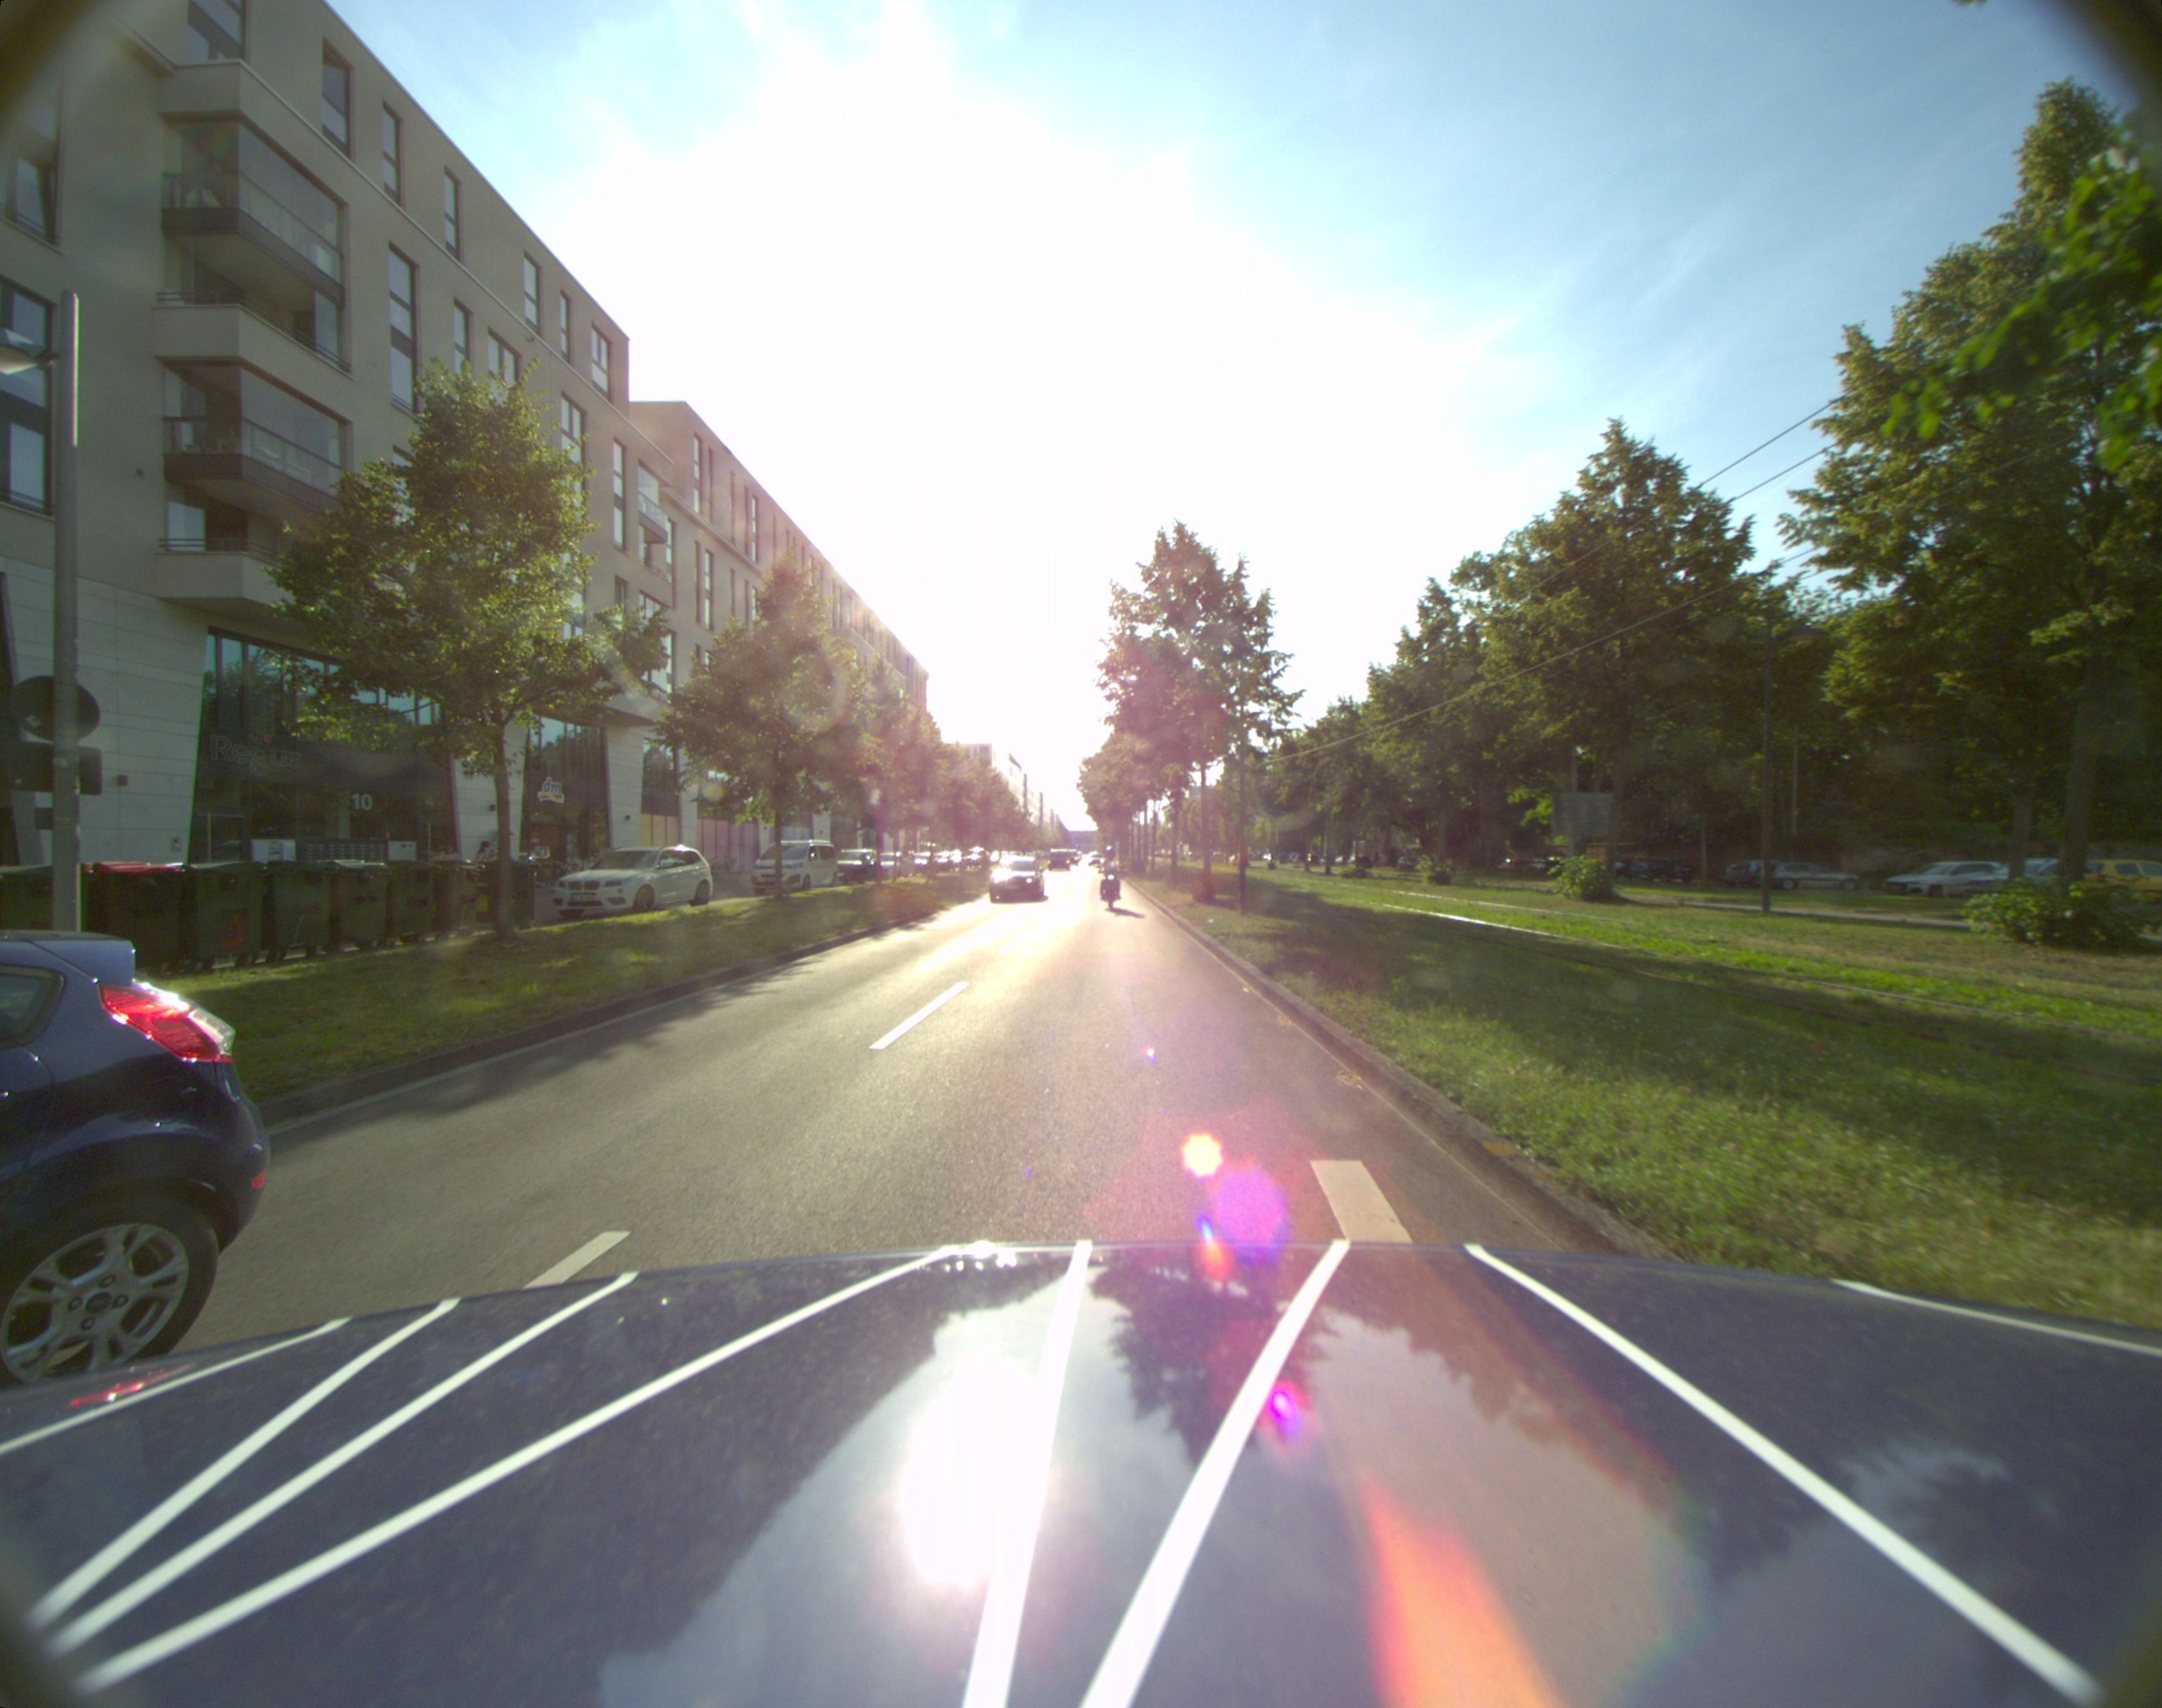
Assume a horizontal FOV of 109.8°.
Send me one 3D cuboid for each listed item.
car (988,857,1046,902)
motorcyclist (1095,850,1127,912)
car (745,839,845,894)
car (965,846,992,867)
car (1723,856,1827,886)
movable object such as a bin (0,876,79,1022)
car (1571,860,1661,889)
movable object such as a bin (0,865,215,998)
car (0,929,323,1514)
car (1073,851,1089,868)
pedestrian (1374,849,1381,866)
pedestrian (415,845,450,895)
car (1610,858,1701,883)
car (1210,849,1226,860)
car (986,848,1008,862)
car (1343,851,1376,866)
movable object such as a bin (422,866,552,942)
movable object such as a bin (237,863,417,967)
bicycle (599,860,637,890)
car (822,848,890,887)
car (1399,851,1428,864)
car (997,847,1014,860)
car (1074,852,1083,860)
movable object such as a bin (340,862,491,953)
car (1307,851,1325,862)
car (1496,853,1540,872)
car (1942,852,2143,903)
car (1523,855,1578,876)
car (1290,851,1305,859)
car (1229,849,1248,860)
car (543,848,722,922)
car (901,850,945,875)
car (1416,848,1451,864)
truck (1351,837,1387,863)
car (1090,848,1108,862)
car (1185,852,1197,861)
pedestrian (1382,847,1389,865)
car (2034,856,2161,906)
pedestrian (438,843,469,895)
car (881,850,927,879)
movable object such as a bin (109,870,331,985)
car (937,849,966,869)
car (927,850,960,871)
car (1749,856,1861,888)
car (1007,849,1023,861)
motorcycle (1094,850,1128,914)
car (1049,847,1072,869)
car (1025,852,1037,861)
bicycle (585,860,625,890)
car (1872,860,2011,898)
[{"bbox_3d":[-2.275,0.870,27.963,1.698,1.416,4.039,-2,1,1],"label":"car"},{"bbox_3d":[0.829,0.739,21.458,0.814,1.700,0.843,-2,1,0],"label":"motorcyclist"},{"bbox_3d":[-10.783,0.409,29.087,1.842,1.865,5.030,-2,1,0],"label":"car"},{"bbox_3d":[-10.111,0.224,75.412,1.899,1.863,4.843,-2,1,1],"label":"car"},{"bbox_3d":[37.627,0.908,41.301,3.865,1.477,1.744,-2,1,9],"label":"car"},{"bbox_3d":[-10.363,0.887,6.740,1.281,1.284,1.178,-2,1,-2],"label":"movable object such as a bin"},{"bbox_3d":[30.694,1.141,43.745,1.688,1.427,4.029,-2,1,-17],"label":"car"},{"bbox_3d":[-10.428,0.771,7.953,1.281,1.229,1.191,-2,1,-2],"label":"movable object such as a bin"},{"bbox_3d":[-3.697,1.030,0.812,1.563,1.416,3.908,-2,1,6],"label":"car"},{"bbox_3d":[0.009,0.645,93.093,1.909,2.002,3.999,-2,1,1],"label":"car"},{"bbox_3d":[25.729,0.326,65.990,0.387,1.467,0.602,-2,1,0],"label":"pedestrian"},{"bbox_3d":[-20.249,0.498,23.732,0.515,1.513,0.597,-2,1,1],"label":"pedestrian"},{"bbox_3d":[36.515,0.993,48.432,1.794,1.434,4.353,-2,1,-20],"label":"car"},{"bbox_3d":[19.139,0.096,105.970,1.587,1.385,3.696,-2,1,1],"label":"car"},{"bbox_3d":[-10.162,0.090,92.327,1.764,1.479,4.919,-2,1,4],"label":"car"},{"bbox_3d":[28.654,0.447,78.287,1.834,1.423,4.474,-2,1,2],"label":"car"},{"bbox_3d":[-10.622,0.862,13.625,1.399,1.229,1.338,-1,1,28],"label":"movable object such as a bin"},{"bbox_3d":[-10.566,0.825,10.725,1.281,1.310,1.191,-2,1,-2],"label":"movable object such as a bin"},{"bbox_3d":[-17.801,0.793,29.249,0.345,1.075,1.732,3,1,1],"label":"bicycle"},{"bbox_3d":[-10.526,0.592,35.832,1.732,1.641,4.339,-2,1,2],"label":"car"},{"bbox_3d":[38.498,0.429,87.967,1.701,1.367,4.386,-2,1,5],"label":"car"},{"bbox_3d":[-9.799,-0.083,98.836,1.764,1.589,4.327,-2,1,1],"label":"car"},{"bbox_3d":[-0.443,0.334,160.313,1.840,1.521,4.327,-2,1,1],"label":"car"},{"bbox_3d":[-10.510,0.815,12.074,1.281,1.294,1.191,-2,1,-2],"label":"movable object such as a bin"},{"bbox_3d":[30.934,0.279,100.189,1.586,1.269,3.961,-2,1,7],"label":"car"},{"bbox_3d":[37.156,0.695,64.711,1.722,1.434,3.912,-2,1,3],"label":"car"},{"bbox_3d":[36.795,0.869,29.185,5.071,1.725,1.886,-2,1,3],"label":"car"},{"bbox_3d":[36.419,0.878,59.097,1.790,1.434,4.361,-2,1,3],"label":"car"},{"bbox_3d":[31.620,0.094,110.917,1.301,1.101,3.772,-2,1,3],"label":"car"},{"bbox_3d":[22.173,0.092,107.364,1.686,1.467,4.812,2,1,1],"label":"car"},{"bbox_3d":[-10.981,0.665,19.094,1.735,1.620,4.849,0,0,-2],"label":"car"},{"bbox_3d":[-10.437,0.525,50.603,1.732,1.424,4.721,-2,1,2],"label":"car"},{"bbox_3d":[38.104,0.191,82.216,1.834,1.603,4.474,-2,1,2],"label":"car"},{"bbox_3d":[41.668,-0.605,110.278,2.894,3.496,7.946,-2,1,6],"label":"truck"},{"bbox_3d":[1.951,0.118,83.683,1.756,1.427,4.034,-2,1,-2],"label":"car"},{"bbox_3d":[19.933,0.465,137.226,1.614,1.523,4.132,-2,1,1],"label":"car"},{"bbox_3d":[26.424,0.176,65.902,0.387,1.467,0.602,-2,1,0],"label":"pedestrian"},{"bbox_3d":[36.758,0.932,26.710,3.996,1.551,1.856,-2,1,3],"label":"car"},{"bbox_3d":[-19.642,0.461,23.781,0.515,1.565,0.539,-2,2,-18],"label":"pedestrian"},{"bbox_3d":[-9.733,0.541,42.037,1.620,1.404,4.166,-2,1,-2],"label":"car"},{"bbox_3d":[-10.445,0.851,9.300,1.281,1.229,1.191,-2,1,-2],"label":"movable object such as a bin"},{"bbox_3d":[-10.809,0.386,63.853,1.873,1.483,4.412,-2,1,-4],"label":"car"},{"bbox_3d":[-10.484,0.470,58.094,1.733,1.424,4.113,-2,1,0],"label":"car"},{"bbox_3d":[37.205,0.928,39.140,3.865,1.477,1.744,-2,1,9],"label":"car"},{"bbox_3d":[-9.476,0.148,109.288,1.840,1.521,4.327,-2,1,1],"label":"car"},{"bbox_3d":[0.832,0.747,21.552,0.798,1.659,2.633,-2,1,0],"label":"motorcycle"},{"bbox_3d":[-1.819,0.337,68.794,1.803,1.881,4.820,-2,1,1],"label":"car"},{"bbox_3d":[-9.027,0.487,137.275,1.840,1.521,4.327,-2,1,1],"label":"car"},{"bbox_3d":[-18.293,0.785,29.244,0.345,1.075,1.742,3,1,1],"label":"bicycle"},{"bbox_3d":[35.977,1.026,31.853,3.655,1.420,1.809,-2,1,3],"label":"car"}]
